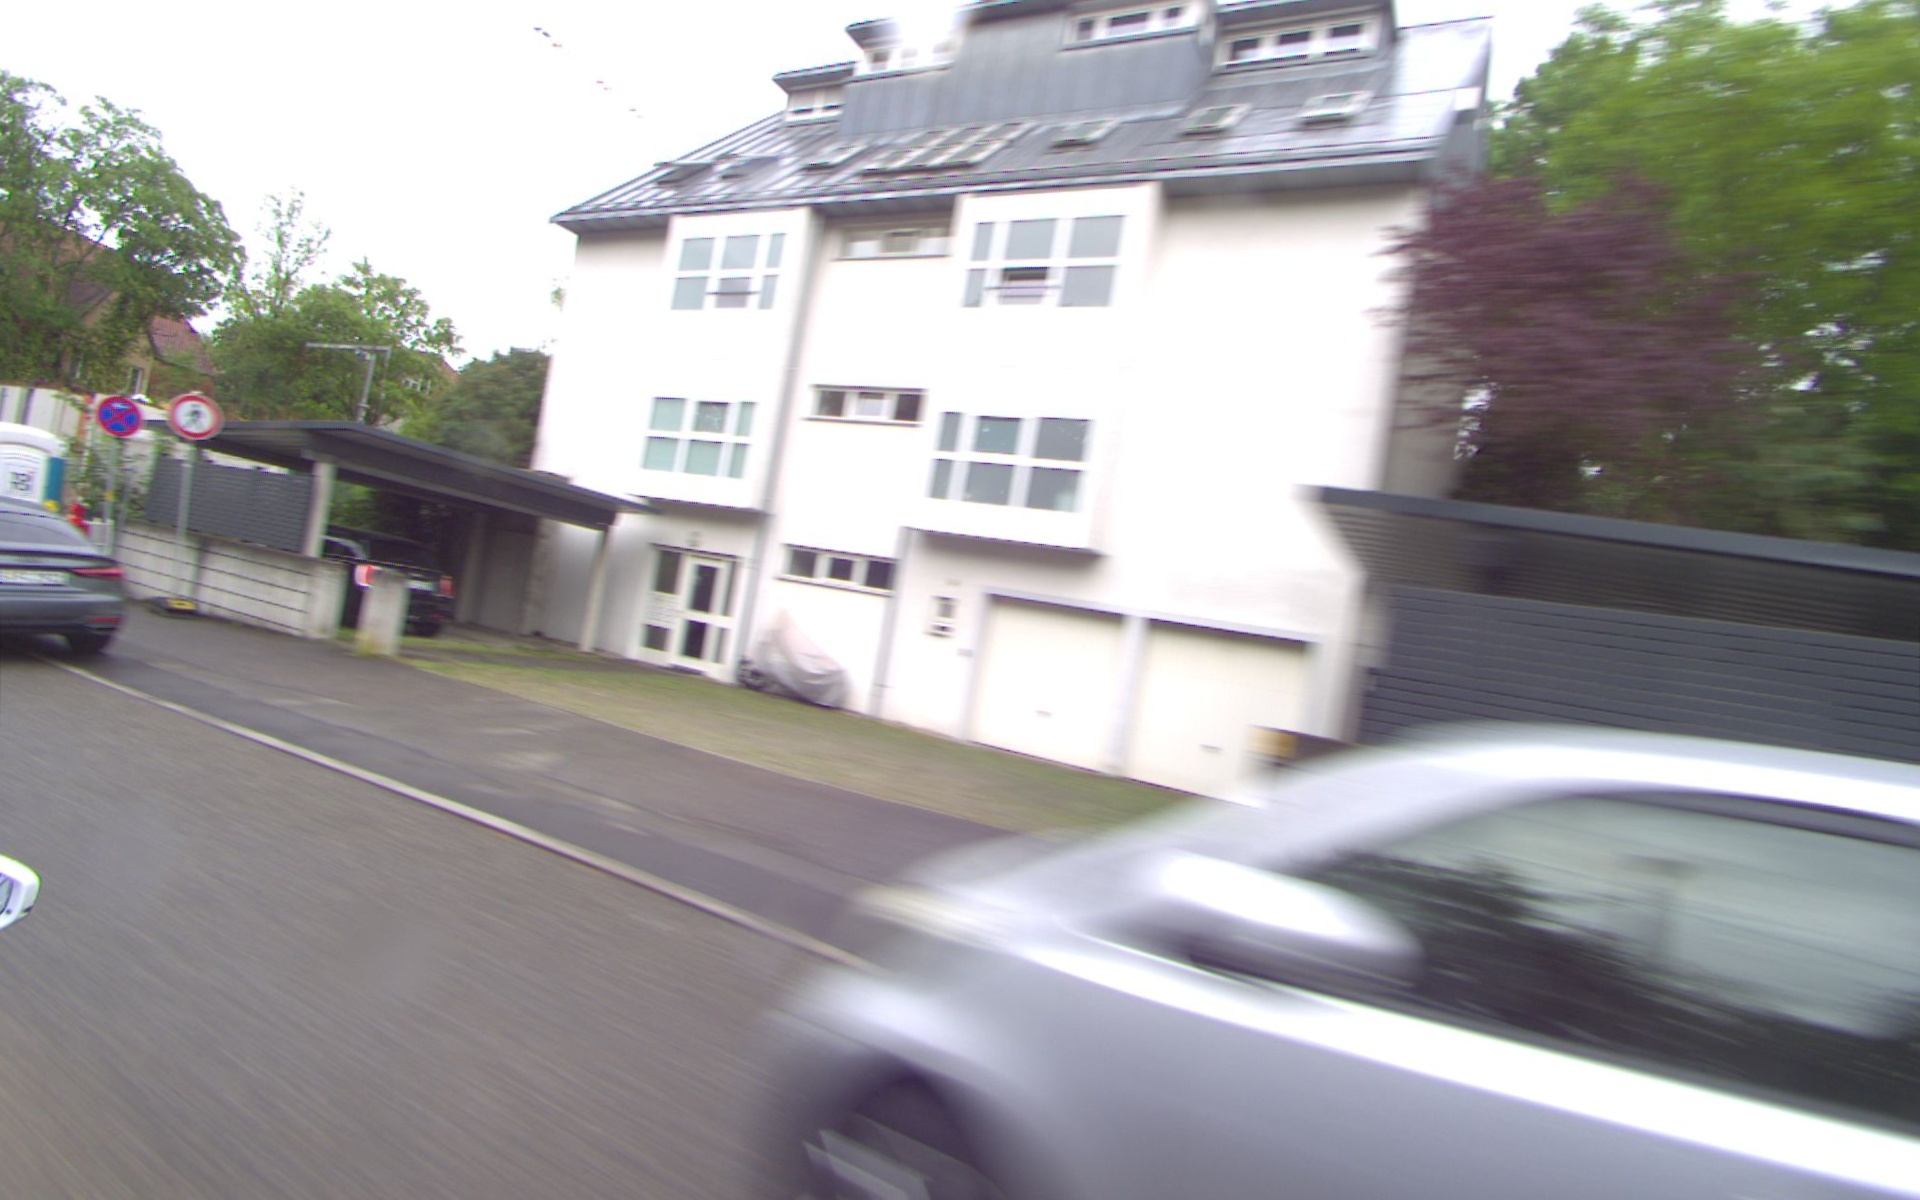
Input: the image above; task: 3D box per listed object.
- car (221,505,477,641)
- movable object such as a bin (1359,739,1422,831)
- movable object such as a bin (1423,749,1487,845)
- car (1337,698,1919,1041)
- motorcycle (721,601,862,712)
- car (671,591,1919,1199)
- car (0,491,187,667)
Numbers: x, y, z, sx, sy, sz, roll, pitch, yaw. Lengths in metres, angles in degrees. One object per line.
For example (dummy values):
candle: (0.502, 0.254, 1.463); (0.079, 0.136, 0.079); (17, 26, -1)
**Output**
car: (-9.617, -0.451, 15.772); (3.935, 1.487, 1.701); (7, -5, 33)
movable object such as a bin: (5.412, 2.308, 12.655); (0.563, 1.035, 0.424); (7, -1, 31)
movable object such as a bin: (6.054, 2.393, 12.305); (0.563, 1.035, 0.424); (7, -1, 31)
car: (4.862, 1.726, 6.850); (3.933, 1.411, 1.740); (7, -4, 31)
motorcycle: (-2.708, 0.890, 16.093); (2.009, 1.468, 0.798); (7, -1, 30)
car: (1.271, 0.964, 1.991); (3.331, 1.474, 1.675); (7, -1, 33)
car: (-10.077, -0.433, 10.003); (4.753, 1.439, 1.937); (7, -2, 29)
